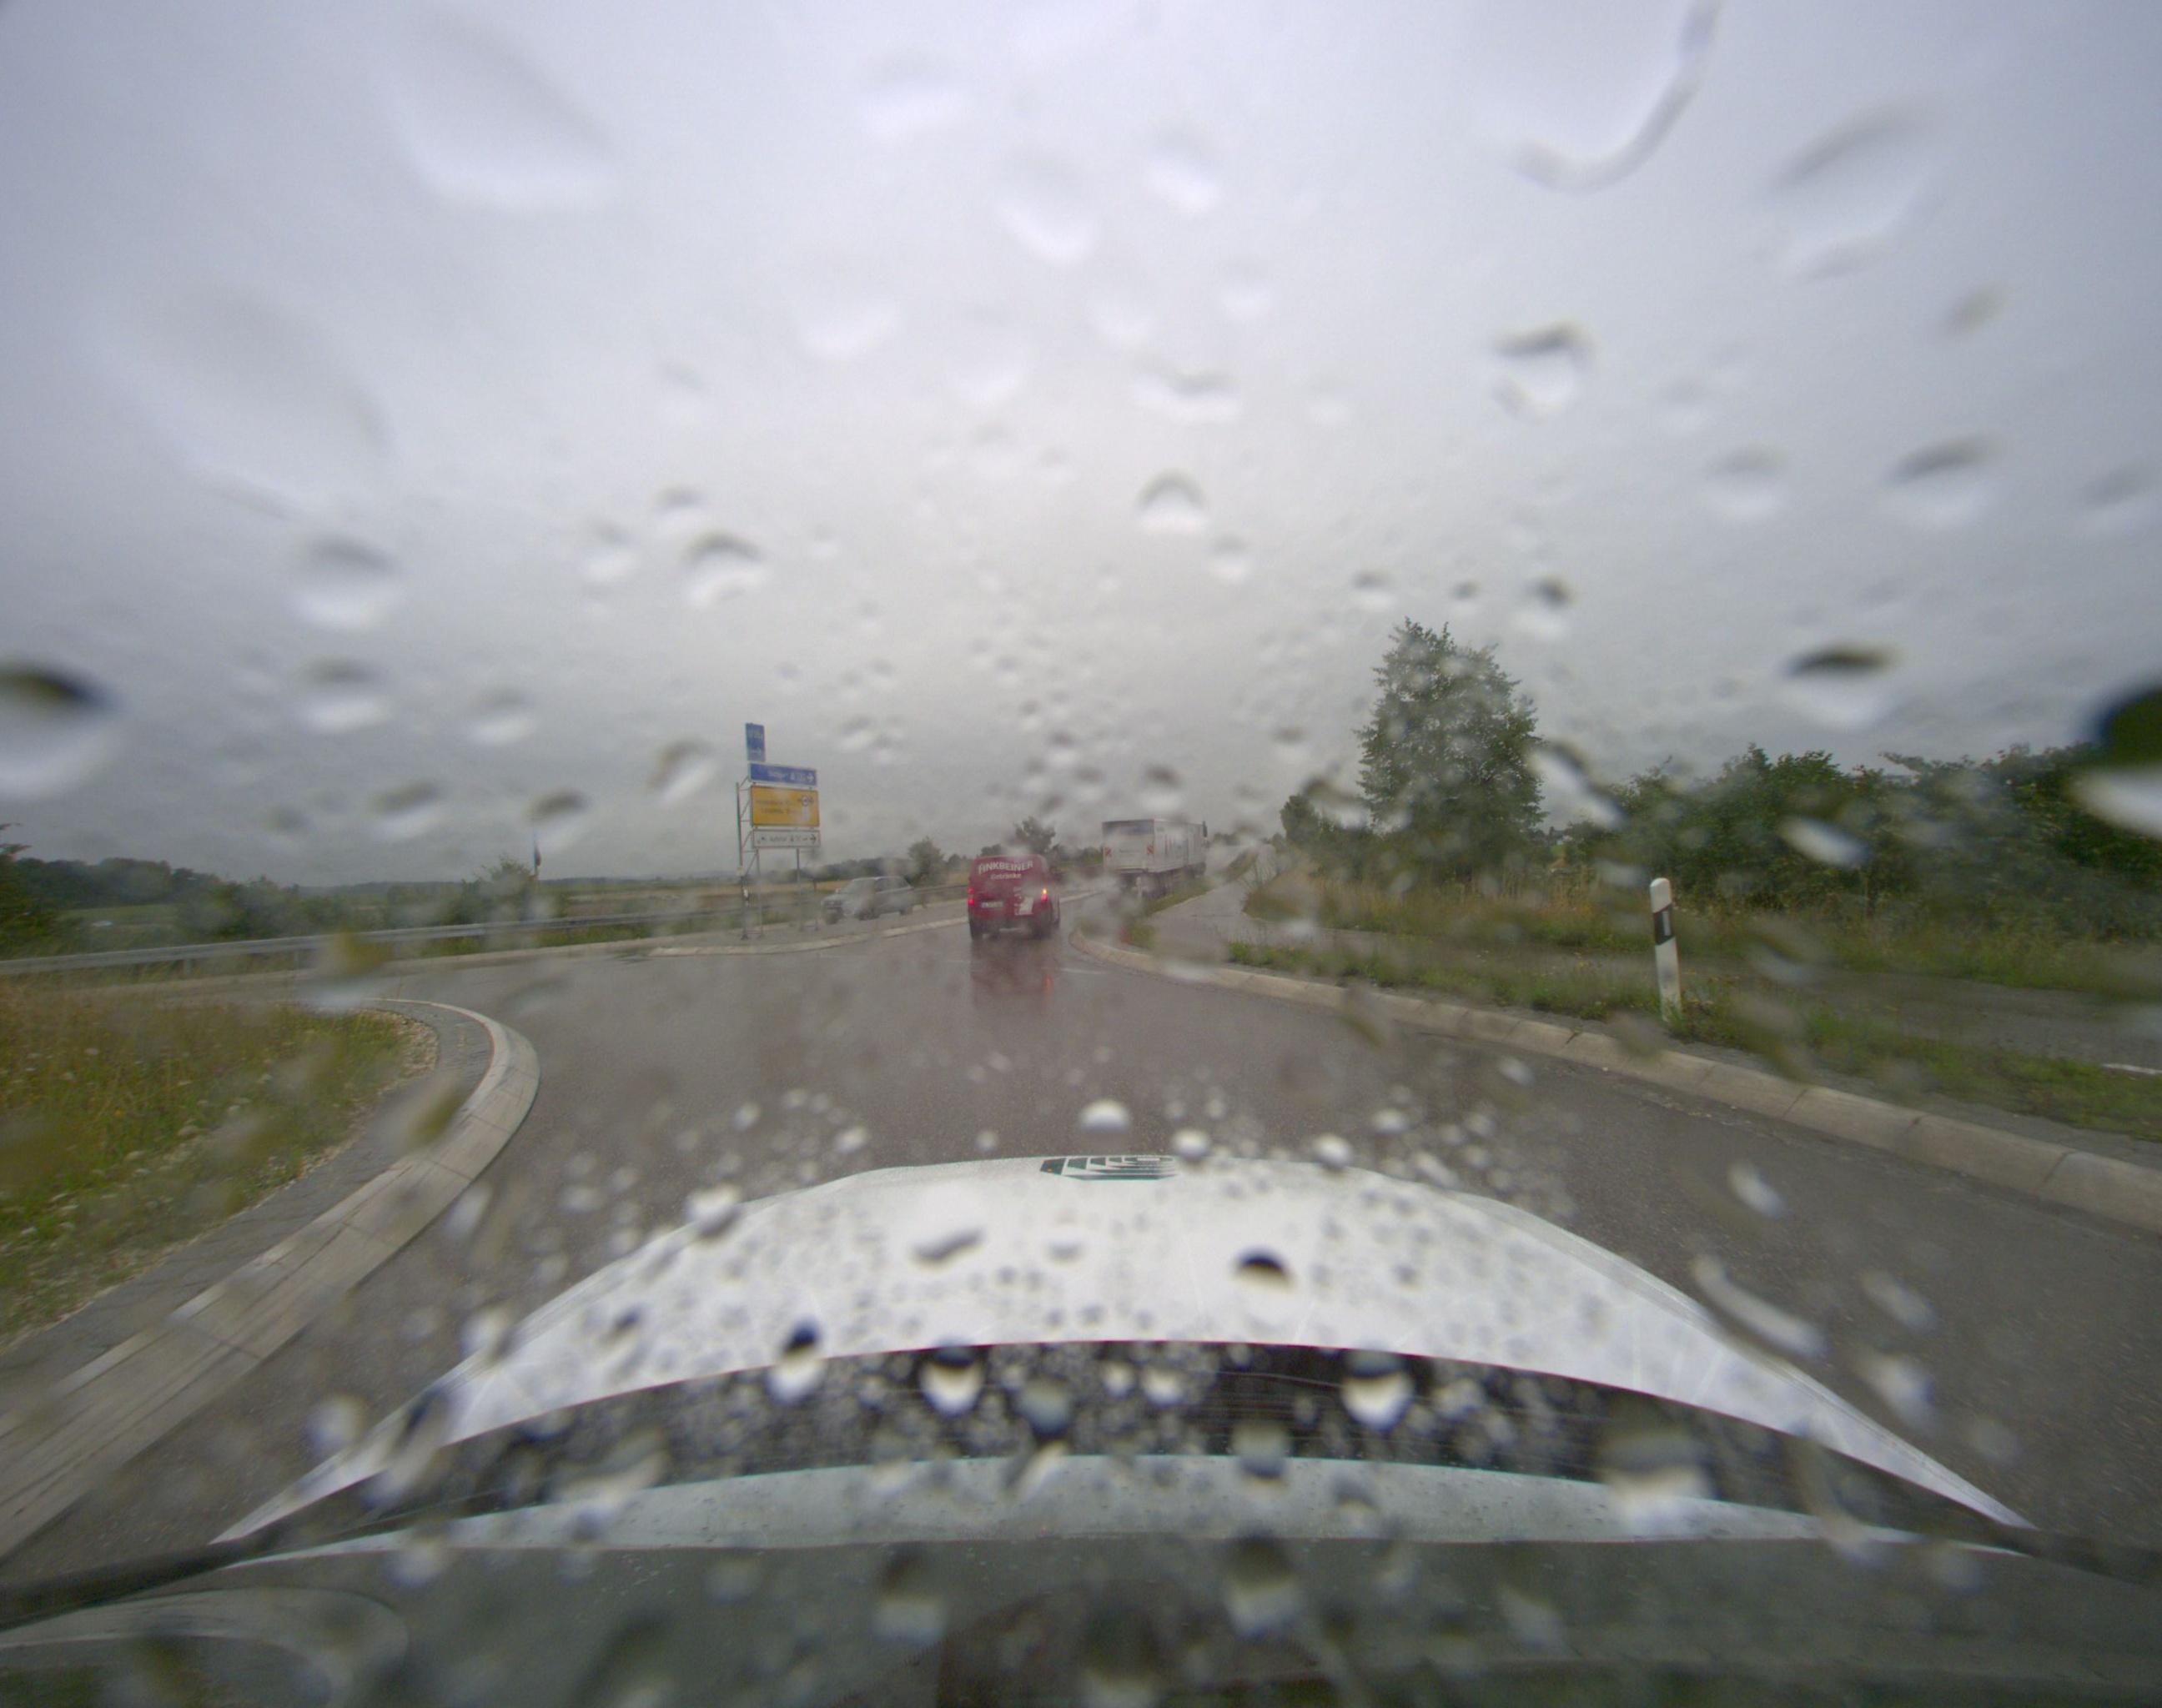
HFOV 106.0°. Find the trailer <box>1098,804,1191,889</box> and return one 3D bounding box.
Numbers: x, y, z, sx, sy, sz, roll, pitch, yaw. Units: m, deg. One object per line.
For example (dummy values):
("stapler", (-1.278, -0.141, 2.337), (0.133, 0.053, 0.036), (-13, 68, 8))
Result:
("trailer", (3.580, -0.436, 42.766), (2.811, 3.818, 9.756), (-3, 0, 16))

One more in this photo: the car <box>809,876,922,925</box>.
("car", (-7.943, 1.674, 30.370), (1.784, 1.575, 4.024), (-2, -1, 26))

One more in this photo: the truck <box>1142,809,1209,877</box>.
("truck", (6.056, -0.715, 51.110), (2.778, 3.818, 7.722), (-3, 0, 16))

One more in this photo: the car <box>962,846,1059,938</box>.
("car", (-1.720, 0.820, 20.278), (1.990, 1.870, 4.971), (-4, 0, -4))
